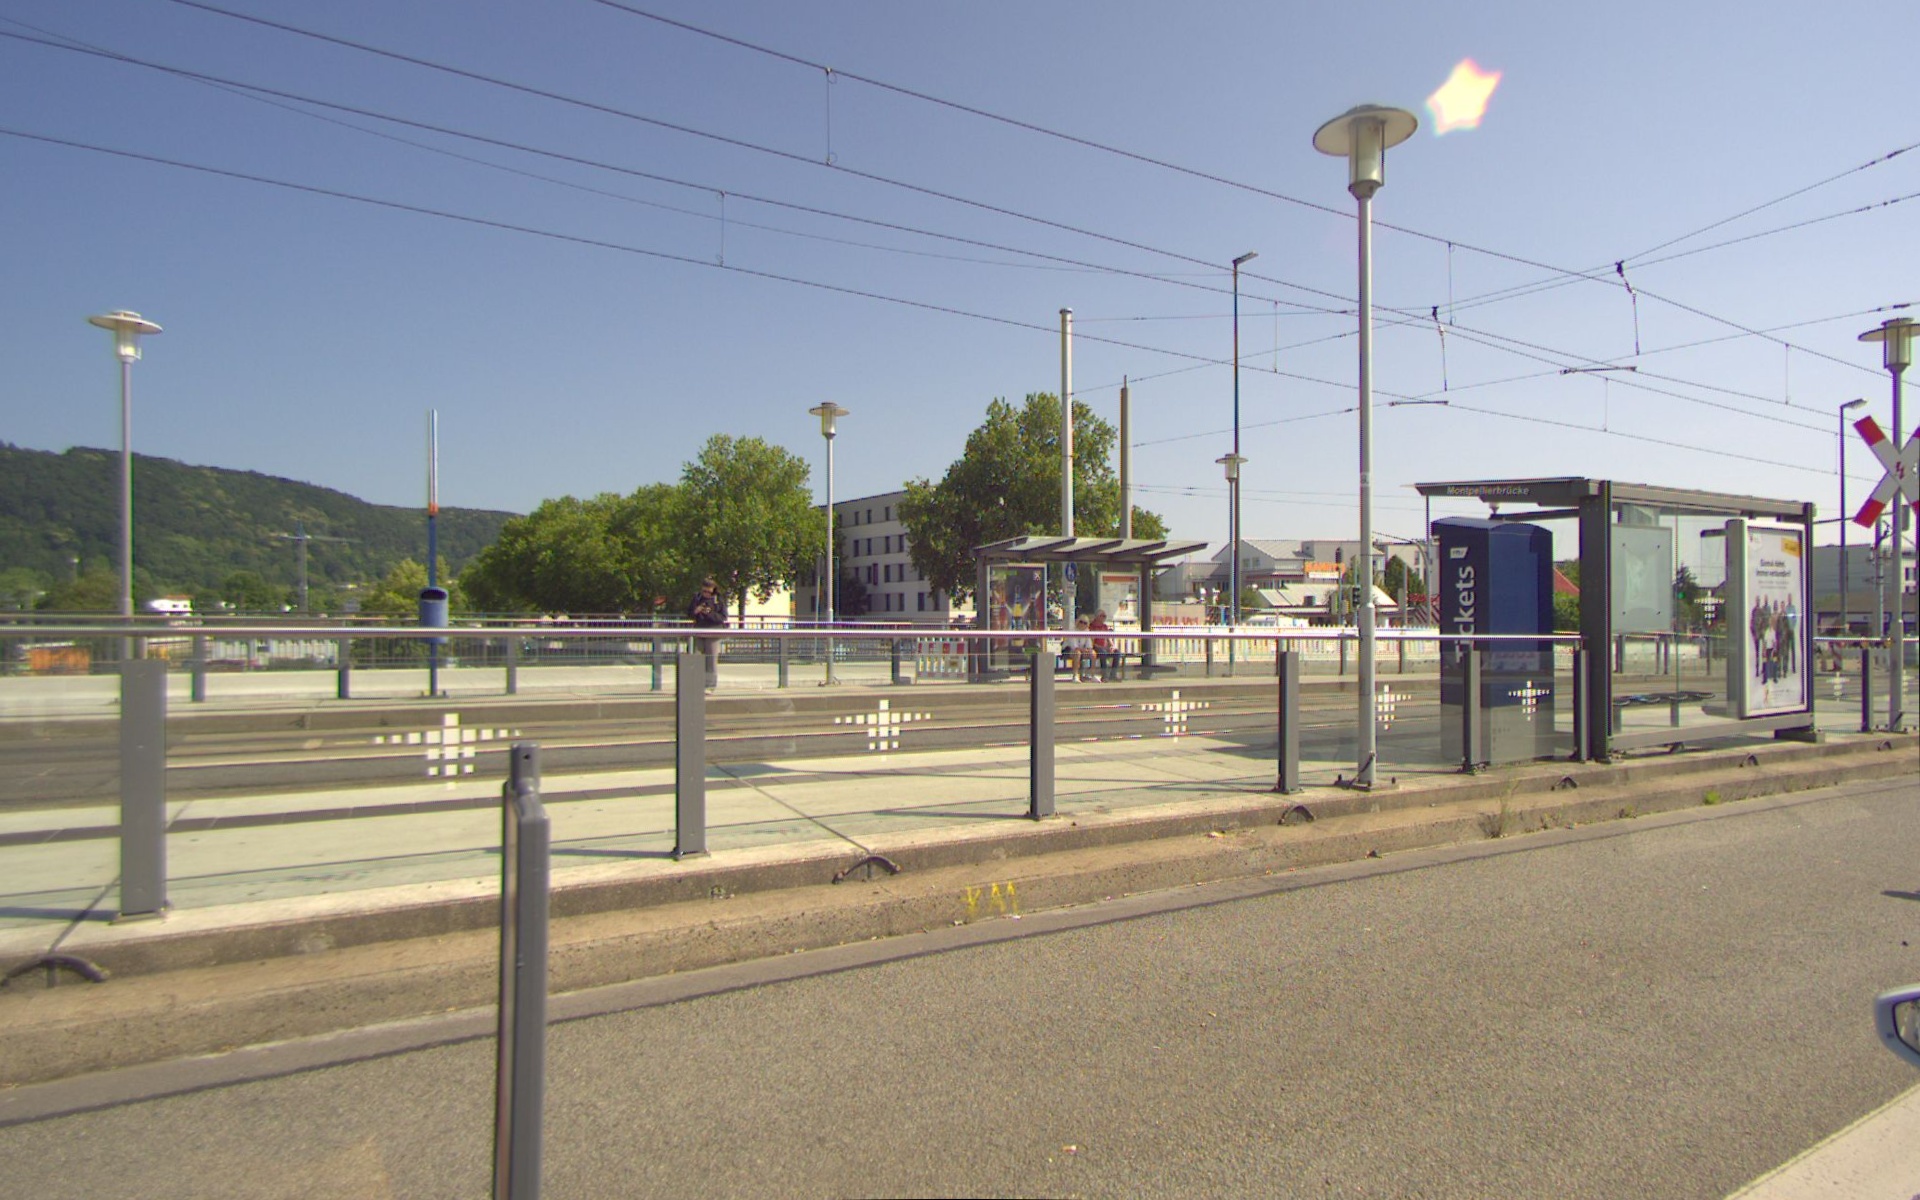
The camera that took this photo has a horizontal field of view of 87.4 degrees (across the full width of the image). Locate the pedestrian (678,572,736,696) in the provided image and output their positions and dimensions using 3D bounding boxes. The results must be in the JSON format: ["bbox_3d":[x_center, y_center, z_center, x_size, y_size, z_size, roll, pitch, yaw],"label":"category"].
[{"bbox_3d":[-3.523,0.460,13.955,0.728,1.676,0.659,0,0,-19],"label":"pedestrian"}]

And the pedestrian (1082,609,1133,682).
[{"bbox_3d":[2.683,0.816,18.305,0.688,1.291,0.646,1,0,-27],"label":"pedestrian"}]

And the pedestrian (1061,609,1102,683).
[{"bbox_3d":[2.174,0.818,18.039,0.447,1.291,0.646,1,0,-27],"label":"pedestrian"}]
